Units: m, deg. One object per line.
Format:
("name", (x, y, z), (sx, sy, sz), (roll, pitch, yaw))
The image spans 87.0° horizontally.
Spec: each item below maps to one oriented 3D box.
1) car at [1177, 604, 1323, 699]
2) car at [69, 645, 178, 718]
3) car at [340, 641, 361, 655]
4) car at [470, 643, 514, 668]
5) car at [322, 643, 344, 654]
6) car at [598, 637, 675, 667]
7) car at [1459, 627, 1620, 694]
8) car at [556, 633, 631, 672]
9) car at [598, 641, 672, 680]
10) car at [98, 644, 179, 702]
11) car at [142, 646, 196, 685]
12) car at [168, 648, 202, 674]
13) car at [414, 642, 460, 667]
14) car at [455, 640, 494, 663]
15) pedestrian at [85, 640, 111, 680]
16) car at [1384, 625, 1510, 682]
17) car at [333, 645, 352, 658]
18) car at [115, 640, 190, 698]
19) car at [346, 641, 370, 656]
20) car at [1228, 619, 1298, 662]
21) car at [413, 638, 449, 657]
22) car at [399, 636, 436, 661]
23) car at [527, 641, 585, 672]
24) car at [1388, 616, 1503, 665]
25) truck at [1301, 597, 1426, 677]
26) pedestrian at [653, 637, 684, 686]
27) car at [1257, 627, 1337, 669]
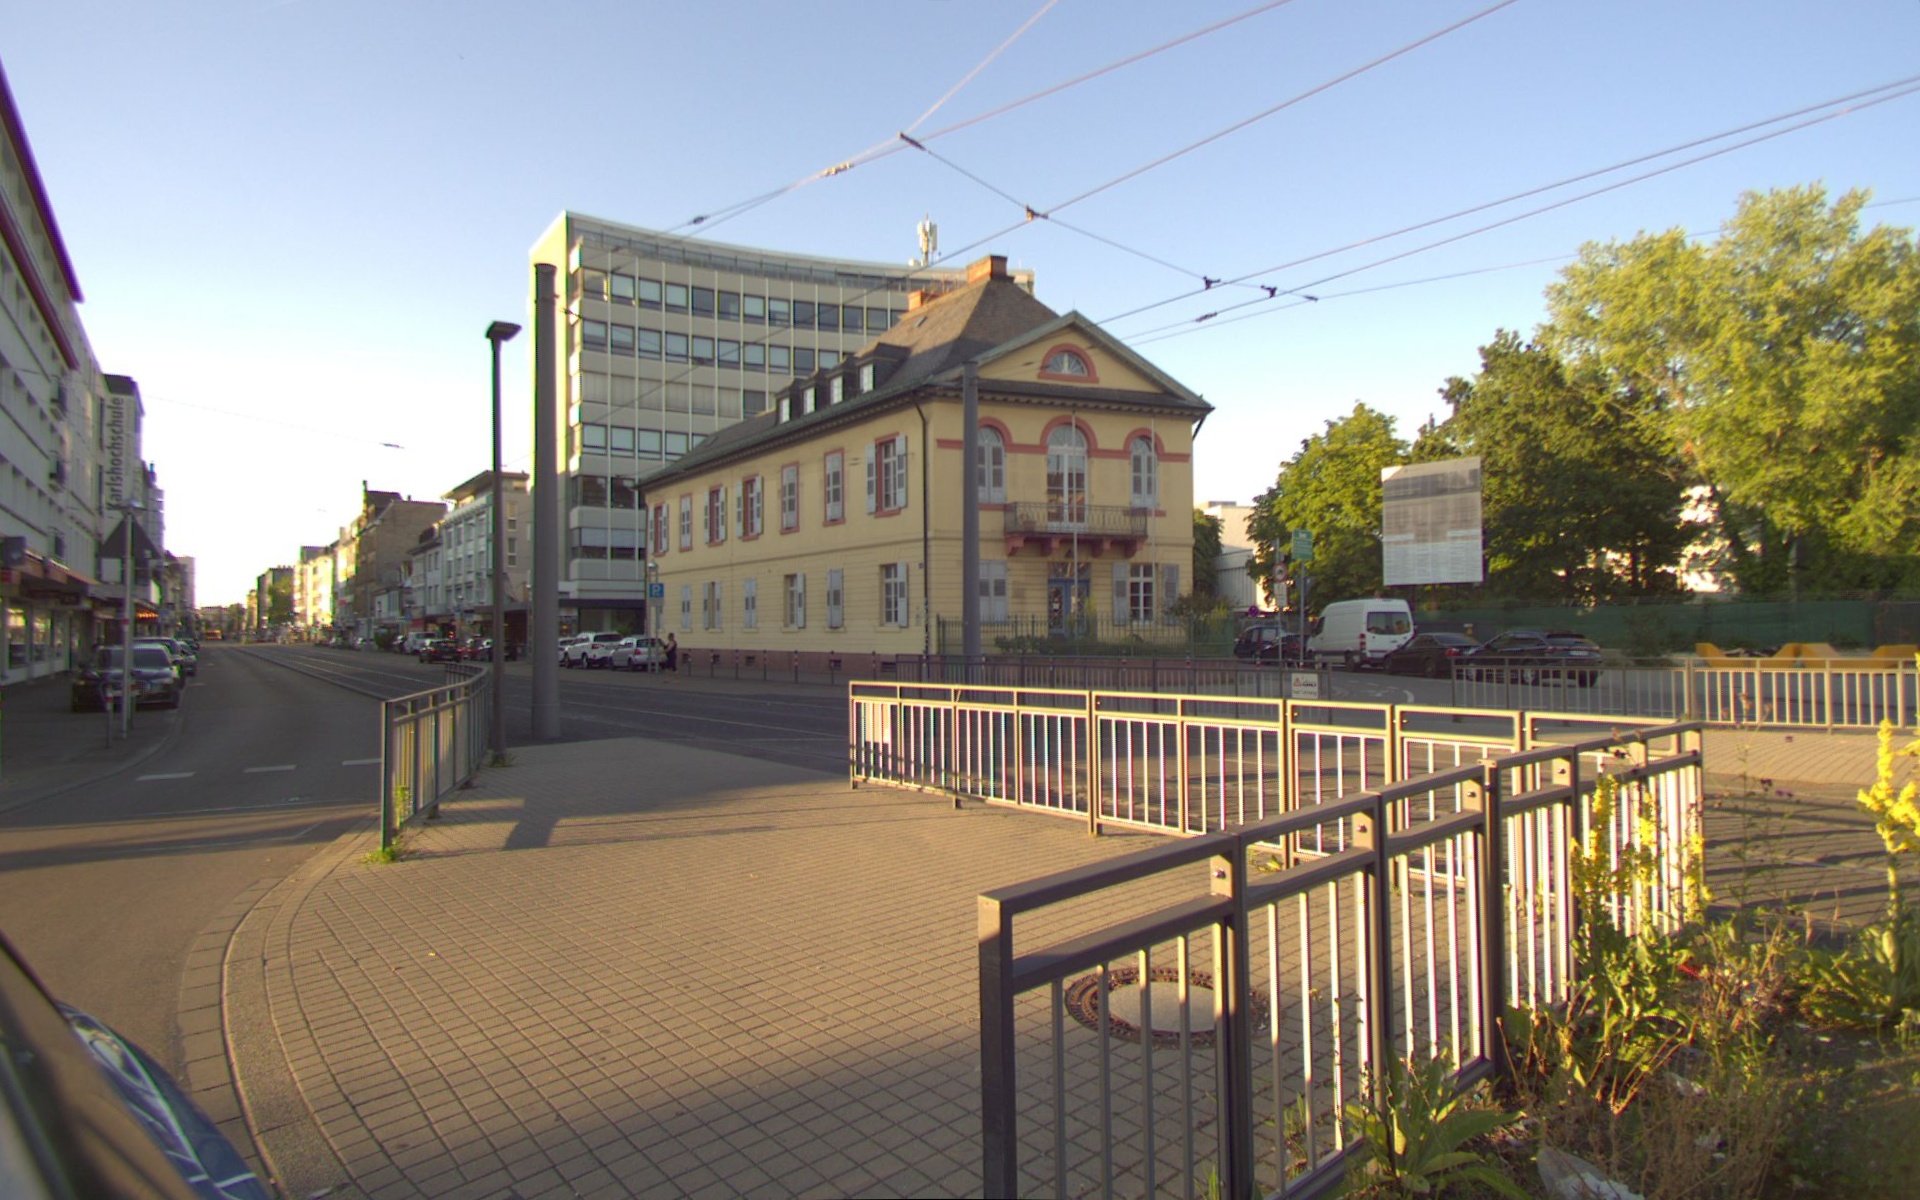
("car", (6.889, 1.172, 23.823), (1.997, 2.029, 3.950), (-2, -3, 37))
("car", (-19.474, 1.822, 23.711), (1.767, 1.423, 4.697), (-1, -1, -37))
("car", (-70.927, 5.604, 117.830), (1.634, 1.582, 3.477), (-1, -1, -38))
("car", (-29.507, 3.493, 63.722), (1.670, 1.436, 3.973), (-2, -1, -37))
("car", (-87.381, 6.722, 141.051), (1.968, 1.431, 4.411), (-1, -1, -39))
("car", (-19.294, 3.083, 60.381), (3.937, 1.565, 1.917), (-1, -1, -39))
("car", (15.700, 1.588, 27.705), (1.971, 1.558, 4.001), (-2, -1, -1))
("car", (-17.322, 2.475, 47.682), (1.863, 1.673, 4.769), (-1, -1, -39))
("car", (-13.983, 2.585, 43.430), (1.725, 1.485, 4.008), (-1, -2, -37))
("car", (-23.527, 2.034, 29.075), (1.630, 1.431, 4.200), (-1, -1, -37))
("car", (-34.934, 2.845, 44.718), (1.769, 1.544, 4.866), (-1, -1, -38))
("car", (-48.188, 3.762, 62.974), (1.633, 1.474, 4.031), (-1, -1, -37))
("car", (-31.077, 3.201, 60.063), (1.744, 1.387, 4.231), (1, -2, -37))
("car", (-32.596, 3.457, 67.870), (1.669, 1.445, 3.600), (0, -3, -37))
("pedestrian", (-35.049, 2.426, 41.151), (0.723, 1.586, 0.969), (1, -3, -38))
("car", (15.495, 1.662, 32.449), (1.971, 1.589, 4.001), (-2, -1, -1))
("car", (-80.198, 6.689, 131.412), (1.817, 1.504, 3.824), (-1, -1, -37))
("car", (-26.802, 2.230, 33.684), (1.832, 1.714, 4.427), (-1, -1, -38))
("car", (-68.045, 5.415, 114.398), (1.867, 1.568, 4.633), (-1, -1, -37))
("car", (14.438, 1.900, 48.454), (1.971, 1.900, 4.001), (-2, -1, -1))
("car", (-42.478, 3.792, 81.180), (1.847, 1.437, 4.581), (-1, -1, -37))
("car", (-46.770, 4.125, 87.192), (1.939, 2.029, 5.110), (-1, -1, -38))
("car", (-21.154, 2.938, 52.927), (1.698, 1.464, 4.292), (-1, -1, -38))
("car", (21.013, 1.757, 43.936), (1.969, 2.029, 4.006), (1, -3, -41))
("truck", (15.011, 1.340, 38.104), (2.164, 2.719, 5.470), (-2, -1, -3))
("pedestrian", (-9.448, 1.989, 32.808), (0.710, 1.548, 0.720), (2, -3, -41))
("car", (14.515, 2.035, 43.790), (1.971, 1.589, 4.001), (-2, -1, -1))
